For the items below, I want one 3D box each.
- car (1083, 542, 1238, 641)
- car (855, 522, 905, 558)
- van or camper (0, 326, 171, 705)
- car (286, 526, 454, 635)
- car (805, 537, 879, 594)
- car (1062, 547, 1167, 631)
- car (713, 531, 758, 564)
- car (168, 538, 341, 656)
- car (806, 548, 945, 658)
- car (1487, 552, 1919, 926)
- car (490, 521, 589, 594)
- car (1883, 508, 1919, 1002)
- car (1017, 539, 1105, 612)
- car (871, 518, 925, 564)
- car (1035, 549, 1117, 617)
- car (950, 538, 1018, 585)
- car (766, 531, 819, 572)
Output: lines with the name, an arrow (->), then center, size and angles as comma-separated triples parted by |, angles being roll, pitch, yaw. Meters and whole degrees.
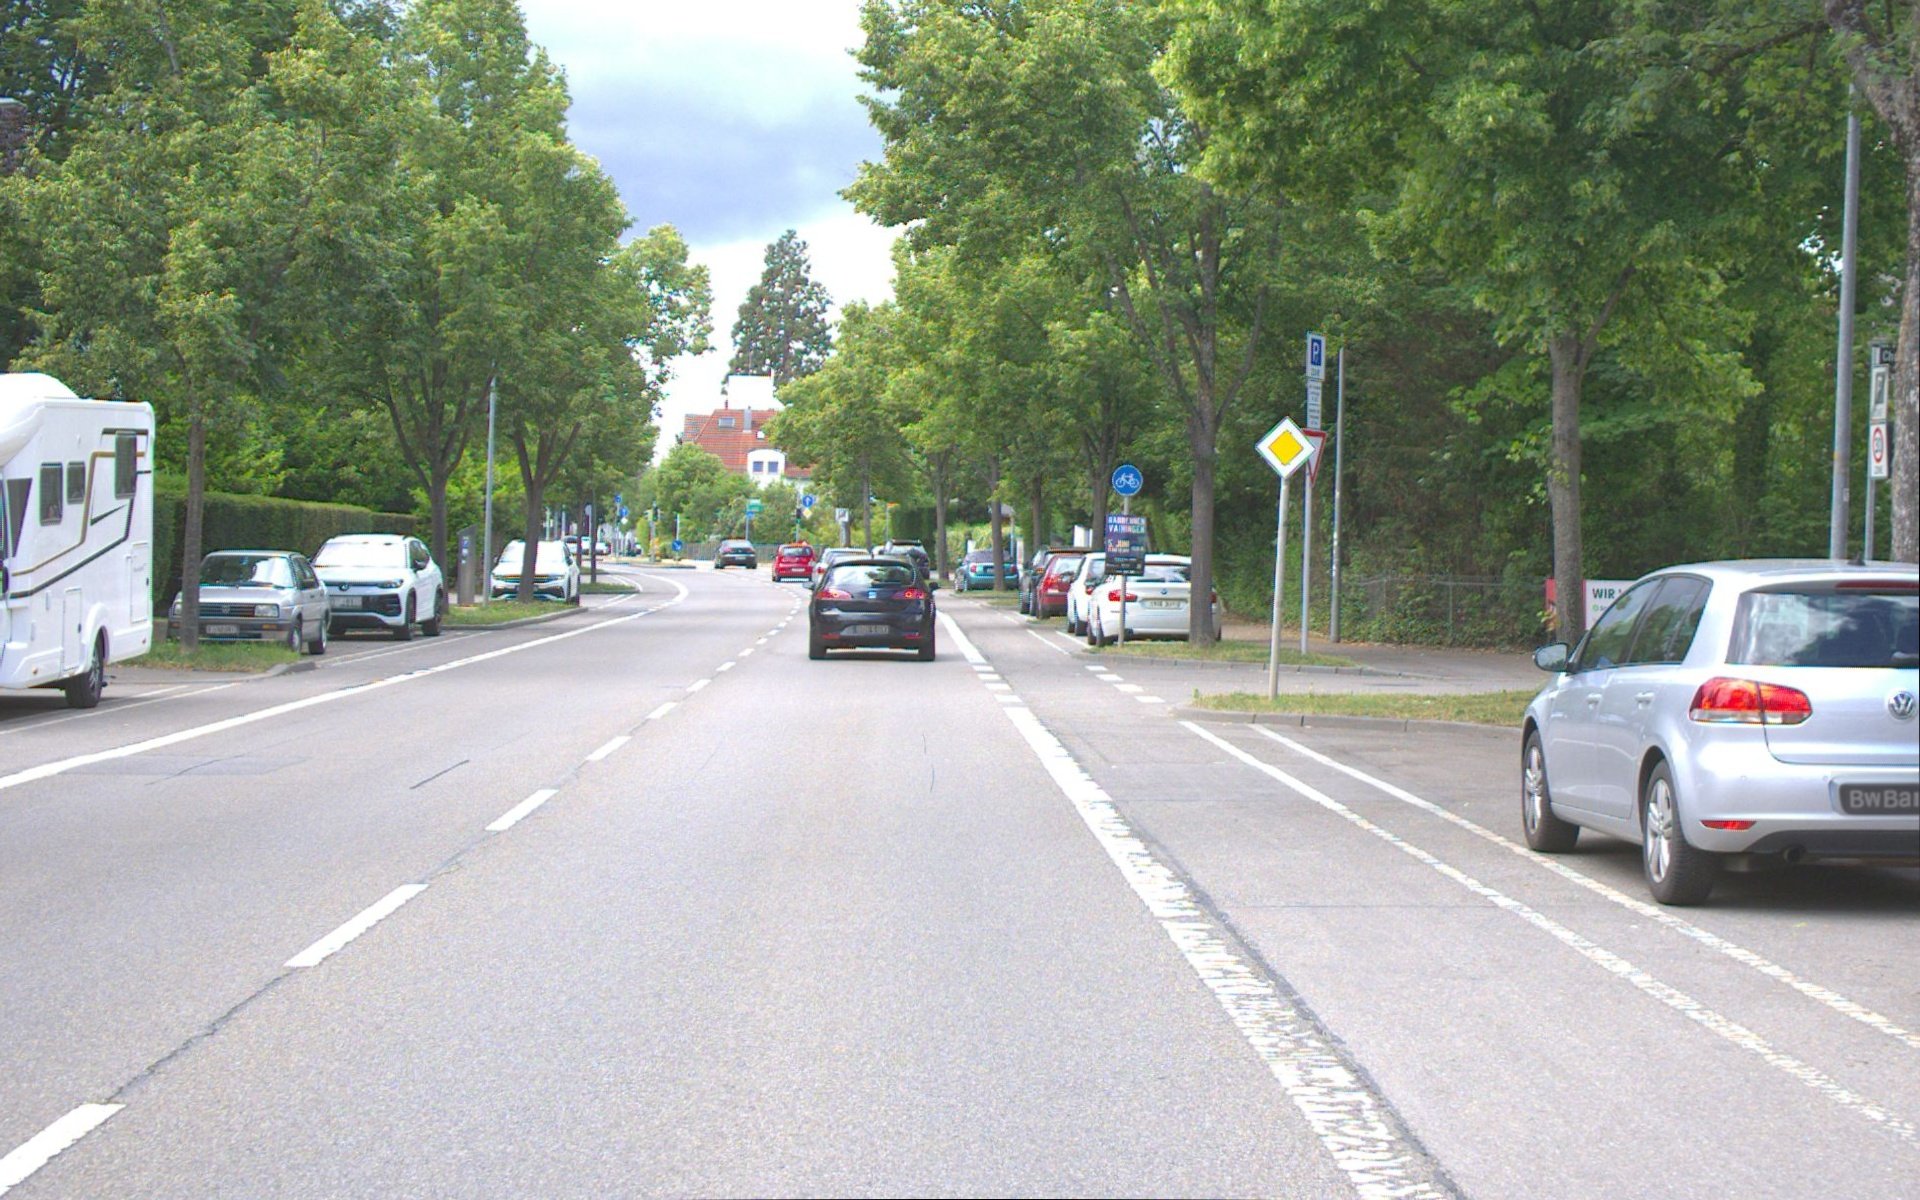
car -> 3.072, -0.169, 53.685 | 2.021, 1.438, 5.025 | 1, 1, -1
car -> -3.314, -2.491, 142.230 | 1.685, 1.444, 3.580 | 1, 1, -8
van or camper -> -8.862, -0.722, 29.653 | 2.435, 2.999, 7.693 | 1, 1, -1
car -> -9.455, -0.340, 55.412 | 1.817, 1.646, 4.699 | 1, 1, 1
car -> -3.321, -0.972, 96.435 | 1.993, 1.552, 4.000 | 1, 0, -2
car -> 2.763, -0.223, 62.117 | 1.615, 1.455, 3.657 | 1, 1, -1
car -> -10.896, -2.522, 166.682 | 1.993, 1.503, 4.001 | 2, 0, -6
car -> -9.303, -0.076, 45.625 | 1.555, 1.465, 4.452 | 1, 1, -3
car -> -1.203, 0.018, 47.670 | 1.783, 1.444, 3.558 | 1, 1, -3
car -> 3.668, 0.531, 15.890 | 1.687, 1.488, 4.228 | 1, 1, -2
car -> -10.094, -1.036, 82.804 | 1.873, 1.682, 4.866 | 1, 1, -1
car -> 4.079, 0.553, 10.176 | 1.632, 1.660, 3.648 | 1, 1, -1
car -> 2.309, -0.585, 79.485 | 1.638, 1.610, 4.170 | 1, 1, -4
car -> -2.481, -2.341, 136.428 | 1.788, 1.765, 3.983 | 1, 1, -6
car -> 2.467, -0.391, 74.010 | 1.638, 1.415, 4.000 | 1, 1, 0
car -> 0.743, -1.228, 108.993 | 1.682, 1.427, 4.045 | 1, 1, -6
car -> -6.482, -1.872, 132.709 | 1.993, 1.525, 4.001 | 1, 1, -3
